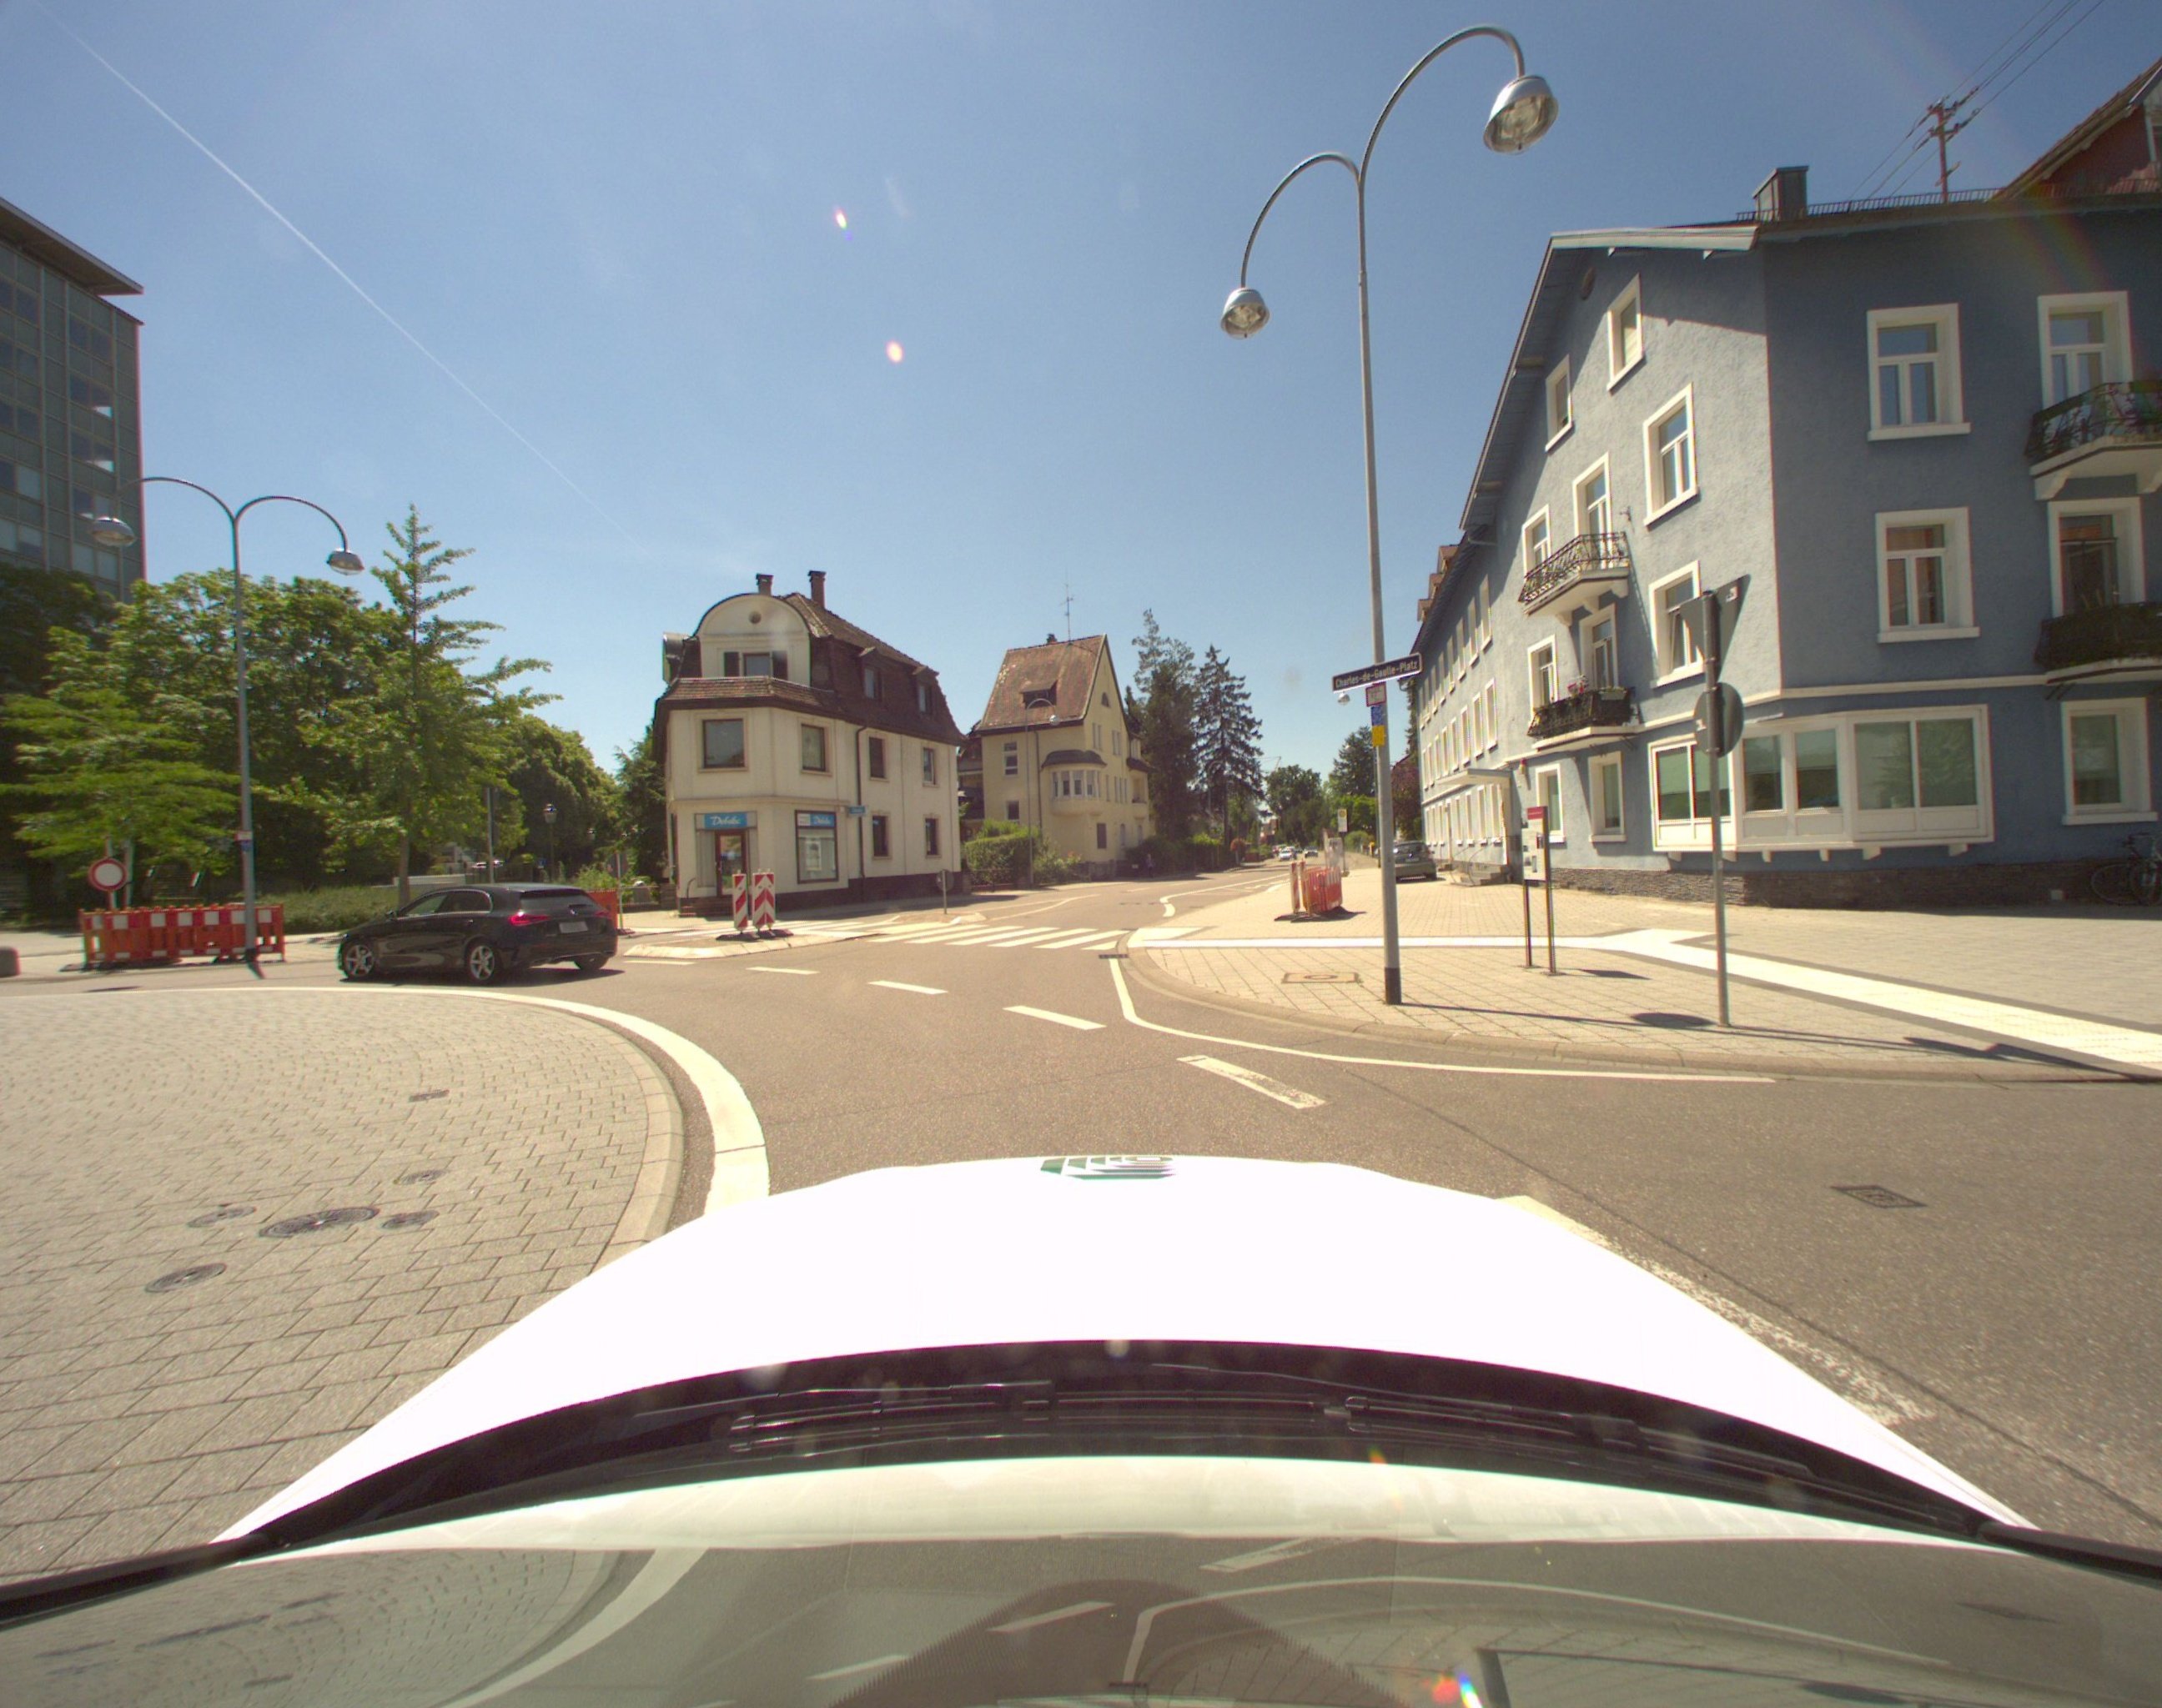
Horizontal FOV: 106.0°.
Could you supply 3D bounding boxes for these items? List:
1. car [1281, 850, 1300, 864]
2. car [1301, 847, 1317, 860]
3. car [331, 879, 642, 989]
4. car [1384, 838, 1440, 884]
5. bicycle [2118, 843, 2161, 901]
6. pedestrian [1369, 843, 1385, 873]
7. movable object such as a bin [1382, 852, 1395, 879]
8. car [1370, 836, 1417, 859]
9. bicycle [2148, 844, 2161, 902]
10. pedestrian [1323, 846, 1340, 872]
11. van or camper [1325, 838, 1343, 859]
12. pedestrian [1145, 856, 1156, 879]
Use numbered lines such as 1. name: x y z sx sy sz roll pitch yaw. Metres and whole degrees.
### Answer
1. car: 26.746 0.361 103.900 1.978 1.651 4.018 -2 0 17
2. car: 32.436 -0.075 115.721 1.977 1.717 4.019 -2 0 18
3. car: -9.110 1.168 12.540 3.953 1.427 1.969 -2 -1 20
4. car: 12.465 0.234 30.871 1.626 1.507 3.581 -6 -1 18
5. bicycle: 17.983 0.265 13.189 1.699 0.906 0.441 -2 2 5
6. pedestrian: 16.419 0.222 45.145 0.660 1.594 0.590 -6 -1 26
7. movable object such as a bin: 13.370 0.484 35.372 0.280 1.123 1.192 -4 -2 29
8. car: 30.280 -0.636 78.995 3.960 2.013 2.007 -2 0 12
9. bicycle: 17.879 0.282 12.735 1.699 0.906 0.441 -2 2 5
10. pedestrian: 12.904 0.260 41.946 0.660 1.286 0.590 -6 -1 26
11. van or camper: 33.707 -0.721 108.568 2.188 2.610 4.018 -2 0 17
12. pedestrian: 4.509 0.877 52.932 0.518 1.509 0.476 -2 -1 24
